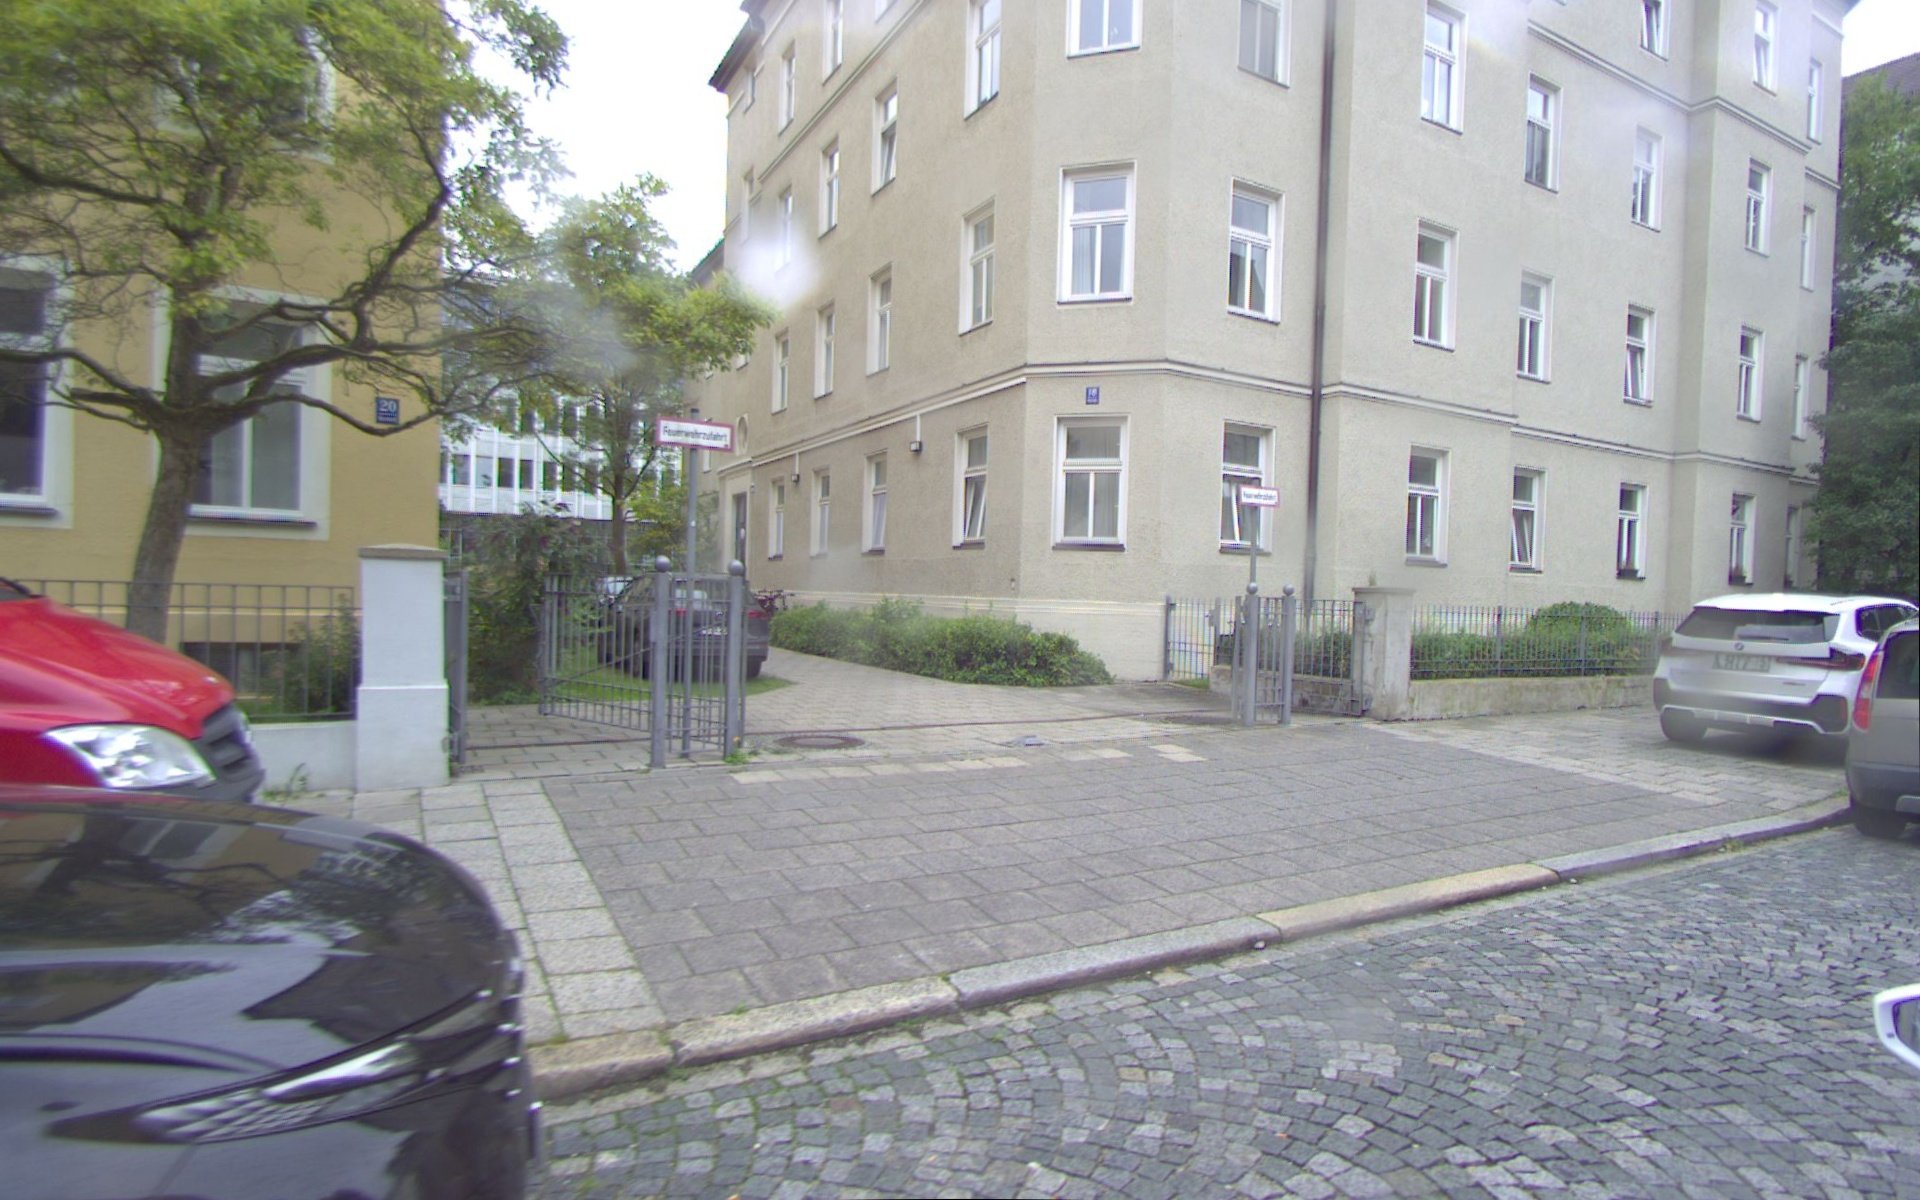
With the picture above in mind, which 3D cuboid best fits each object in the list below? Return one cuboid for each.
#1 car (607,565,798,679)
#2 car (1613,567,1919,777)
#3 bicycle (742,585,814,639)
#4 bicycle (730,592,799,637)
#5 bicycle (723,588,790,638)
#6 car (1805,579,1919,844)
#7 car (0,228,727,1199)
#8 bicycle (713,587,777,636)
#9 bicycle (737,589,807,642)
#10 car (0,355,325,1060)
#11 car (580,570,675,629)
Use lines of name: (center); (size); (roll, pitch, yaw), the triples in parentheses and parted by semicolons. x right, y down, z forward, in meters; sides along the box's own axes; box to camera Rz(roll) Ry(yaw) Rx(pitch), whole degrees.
car: (-3.947, 0.279, 14.894); (1.811, 1.442, 4.051); (2, 0, -28)
car: (9.345, 0.651, 10.826); (4.603, 1.758, 1.935); (1, 4, -31)
bicycle: (-3.992, 0.262, 22.016); (1.452, 1.154, 0.514); (1, 1, -30)
bicycle: (-4.508, 0.332, 23.167); (1.452, 1.009, 0.514); (1, 1, -30)
bicycle: (-4.805, 0.313, 23.751); (1.452, 1.154, 0.514); (1, 1, -30)
car: (8.377, 0.763, 7.576); (4.355, 1.758, 1.855); (1, -1, -33)
car: (-2.792, 0.541, 0.936); (4.698, 1.757, 1.909); (1, -3, -29)
bicycle: (-5.280, 0.281, 24.688); (1.452, 1.154, 0.498); (1, 1, -30)
bicycle: (-4.209, 0.353, 22.540); (1.452, 1.154, 0.514); (1, 1, -30)
car: (-4.826, 0.226, 2.611); (5.269, 1.957, 1.984); (1, 2, -31)
car: (-8.929, -0.024, 26.790); (1.727, 1.407, 3.960); (2, 0, -29)
